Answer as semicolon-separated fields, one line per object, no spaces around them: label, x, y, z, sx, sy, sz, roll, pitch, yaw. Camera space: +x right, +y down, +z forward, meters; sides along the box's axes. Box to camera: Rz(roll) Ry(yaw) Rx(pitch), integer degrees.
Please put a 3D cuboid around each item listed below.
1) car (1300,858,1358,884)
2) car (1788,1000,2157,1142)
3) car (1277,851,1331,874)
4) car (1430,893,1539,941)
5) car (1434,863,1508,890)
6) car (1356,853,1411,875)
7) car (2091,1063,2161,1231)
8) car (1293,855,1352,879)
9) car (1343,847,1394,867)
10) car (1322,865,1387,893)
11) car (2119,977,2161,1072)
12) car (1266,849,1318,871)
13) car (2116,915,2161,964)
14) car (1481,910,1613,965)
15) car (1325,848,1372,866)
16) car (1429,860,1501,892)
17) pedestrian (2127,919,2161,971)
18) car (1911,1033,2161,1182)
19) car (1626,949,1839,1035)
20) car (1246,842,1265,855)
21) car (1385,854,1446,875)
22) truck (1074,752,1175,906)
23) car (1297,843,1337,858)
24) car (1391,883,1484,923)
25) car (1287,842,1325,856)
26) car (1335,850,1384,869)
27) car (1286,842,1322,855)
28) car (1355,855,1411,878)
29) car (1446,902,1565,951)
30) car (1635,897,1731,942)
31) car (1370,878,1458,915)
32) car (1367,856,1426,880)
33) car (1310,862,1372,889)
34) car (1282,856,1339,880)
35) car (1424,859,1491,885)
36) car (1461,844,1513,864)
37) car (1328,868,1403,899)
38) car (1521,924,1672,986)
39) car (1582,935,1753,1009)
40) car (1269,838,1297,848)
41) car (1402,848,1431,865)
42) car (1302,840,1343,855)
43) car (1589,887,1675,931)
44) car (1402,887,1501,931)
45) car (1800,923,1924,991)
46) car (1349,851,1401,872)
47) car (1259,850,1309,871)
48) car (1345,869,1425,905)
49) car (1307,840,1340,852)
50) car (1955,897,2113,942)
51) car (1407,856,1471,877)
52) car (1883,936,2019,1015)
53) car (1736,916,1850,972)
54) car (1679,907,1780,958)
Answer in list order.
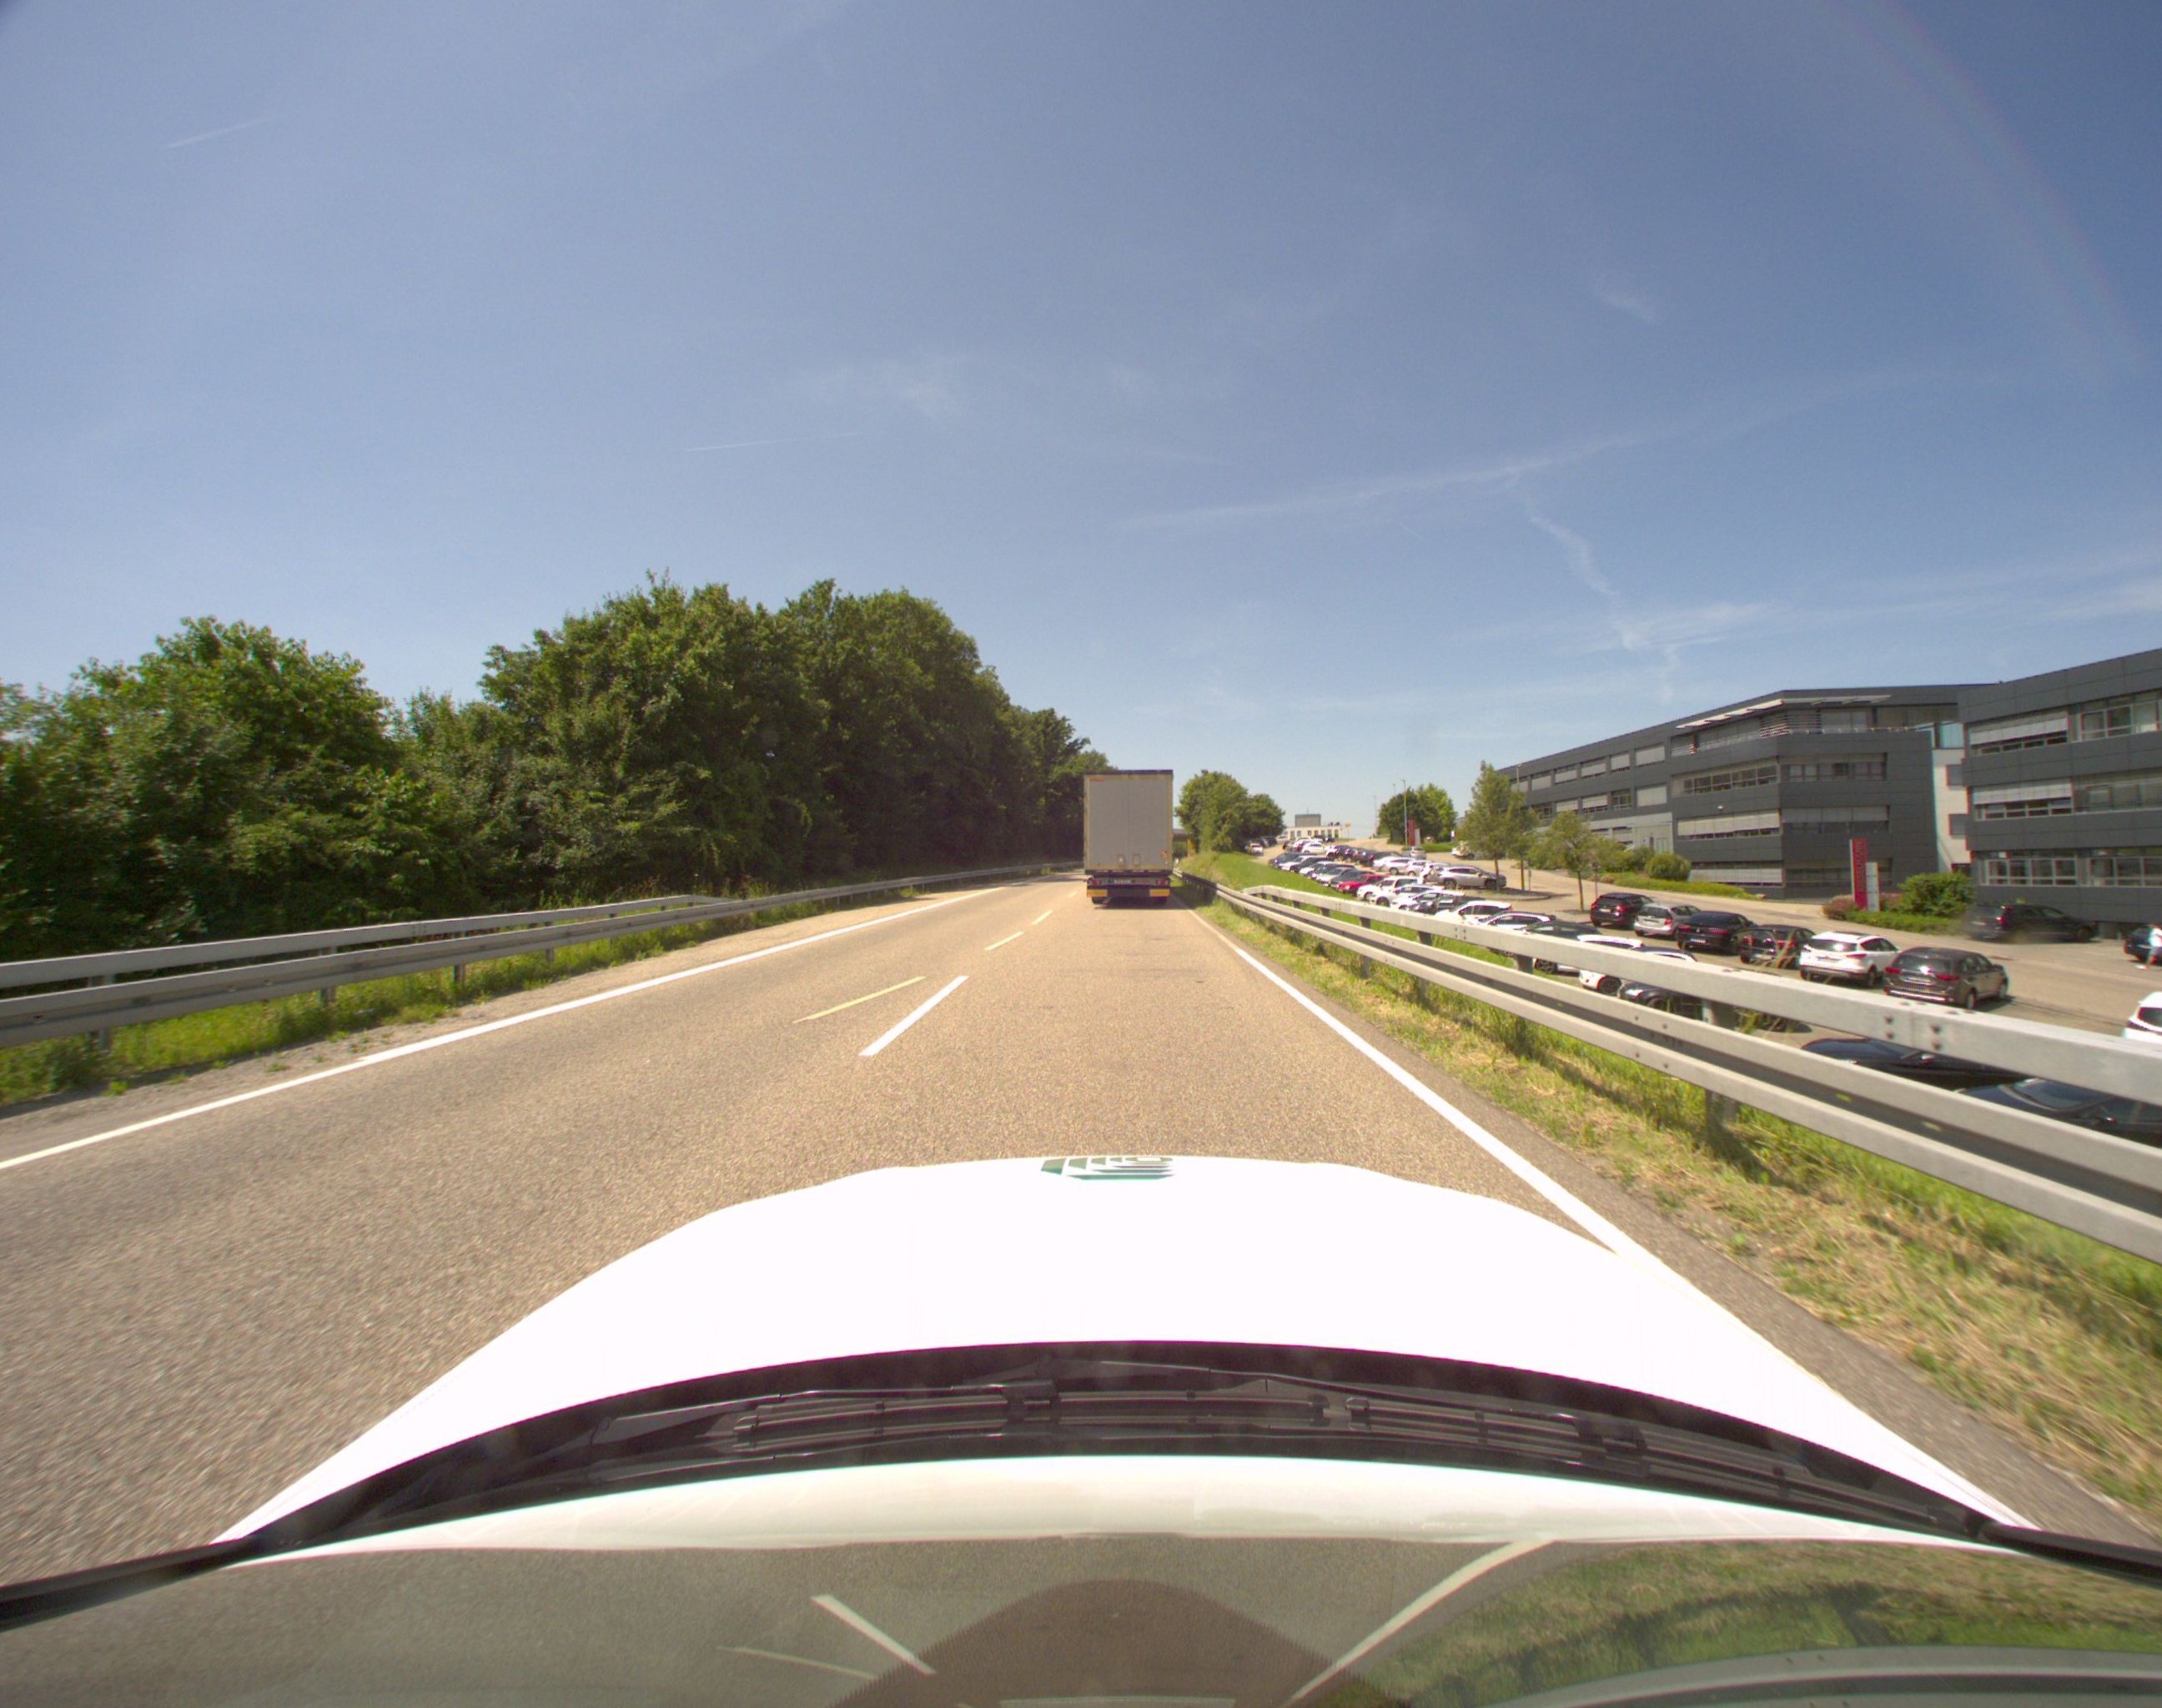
car;19.247;1.321;63.135;4.393;1.685;1.869;3;3;-34
car;17.904;4.302;16.770;4.667;1.487;1.926;6;3;29
car;19.928;0.747;72.731;4.384;1.685;1.873;3;3;-25
car;18.785;2.892;38.013;4.324;1.558;1.873;5;3;27
car;27.341;1.546;57.105;4.528;1.628;1.832;0;4;29
car;28.888;0.926;77.753;4.530;1.628;1.832;6;3;30
car;17.727;4.527;10.934;4.667;2.013;2.092;5;3;29
car;19.730;1.064;66.472;4.384;1.685;1.873;3;3;-25
car;29.476;0.257;83.422;4.530;1.628;1.832;6;3;30
car;19.085;1.745;56.793;4.393;1.685;1.869;3;3;-34
car;26.546;4.064;19.235;4.600;1.659;1.774;-1;5;-30
car;19.578;0.562;75.543;4.384;1.685;1.873;3;3;-25
car;41.364;3.119;29.893;4.559;1.572;1.820;-1;3;-2
car;18.339;3.243;32.219;4.323;1.456;1.830;6;3;30
car;29.559;0.301;90.035;4.530;1.628;1.832;6;3;30
car;28.215;1.595;59.905;4.530;1.627;1.833;5;11;29
pedestrian;38.392;3.273;29.149;0.629;1.723;0.829;4;2;4
car;17.791;4.464;13.867;4.667;1.563;1.972;6;3;29
car;18.146;3.806;22.963;4.324;1.490;1.721;5;3;27
car;22.282;-0.735;104.249;1.619;1.353;3.711;4;2;0
car;28.358;0.882;69.039;4.527;1.519;1.833;1;5;34
truck;1.524;-0.712;27.996;2.854;4.359;9.797;0;0;3
car;29.610;-0.464;102.055;4.531;1.628;1.831;3;2;24
car;19.014;2.566;43.487;4.324;1.558;1.899;5;3;27
car;30.020;-0.698;108.525;4.531;1.628;1.831;3;2;24
car;29.566;0.562;86.421;4.530;1.628;1.832;6;3;30
car;30.453;-0.711;111.367;4.531;1.629;1.830;1;-1;24
car;27.944;1.119;75.366;4.530;1.628;1.832;6;3;30
car;18.249;3.081;35.141;4.324;1.456;1.830;5;3;27
car;27.814;2.962;37.611;4.600;1.539;1.804;-1;5;-30
car;19.130;2.405;46.893;4.322;1.558;1.900;6;3;32
car;28.089;1.229;72.487;4.530;1.628;1.832;6;3;30
car;19.153;1.584;59.912;4.393;1.685;1.869;3;3;-34
car;19.522;1.196;69.242;4.384;1.685;1.873;3;3;-25
car;28.903;1.382;62.551;4.529;1.628;1.833;2;7;29
car;42.717;0.013;85.804;4.551;1.949;1.823;-1;2;4
car;18.755;1.952;53.730;4.375;1.685;1.877;3;2;-19
car;18.182;3.509;28.960;4.323;1.394;1.830;6;3;30
car;18.421;3.662;25.815;4.076;1.517;1.689;5;3;27
car;35.095;-1.922;141.535;4.384;1.685;1.873;-1;4;-25
car;36.110;0.259;87.782;1.798;1.662;4.005;2;0;5
car;29.412;-0.779;99.284;4.531;1.628;1.831;2;1;24
car;27.436;2.680;40.518;4.254;1.628;1.804;-3;6;-30
car;18.591;2.705;40.863;4.324;1.558;1.899;5;3;27
car;27.198;3.507;28.337;4.600;1.659;1.804;-1;5;-30
car;29.148;0.752;80.840;4.530;1.628;1.832;6;3;30
car;19.604;0.666;78.586;4.384;1.685;1.873;3;3;-25
car;18.756;2.006;50.255;4.406;1.685;1.899;5;3;25
car;37.668;-1.237;126.700;4.528;1.629;1.832;2;0;38
car;40.878;2.791;35.019;4.554;1.647;1.822;-1;3;1
car;28.869;1.020;65.742;4.528;1.477;1.832;-2;3;29
car;26.991;3.681;25.246;4.600;1.659;1.774;-1;5;-30
car;27.421;3.388;31.336;4.600;1.513;1.804;-1;5;-30
car;27.039;3.206;33.921;4.603;1.513;1.803;-2;5;-33
